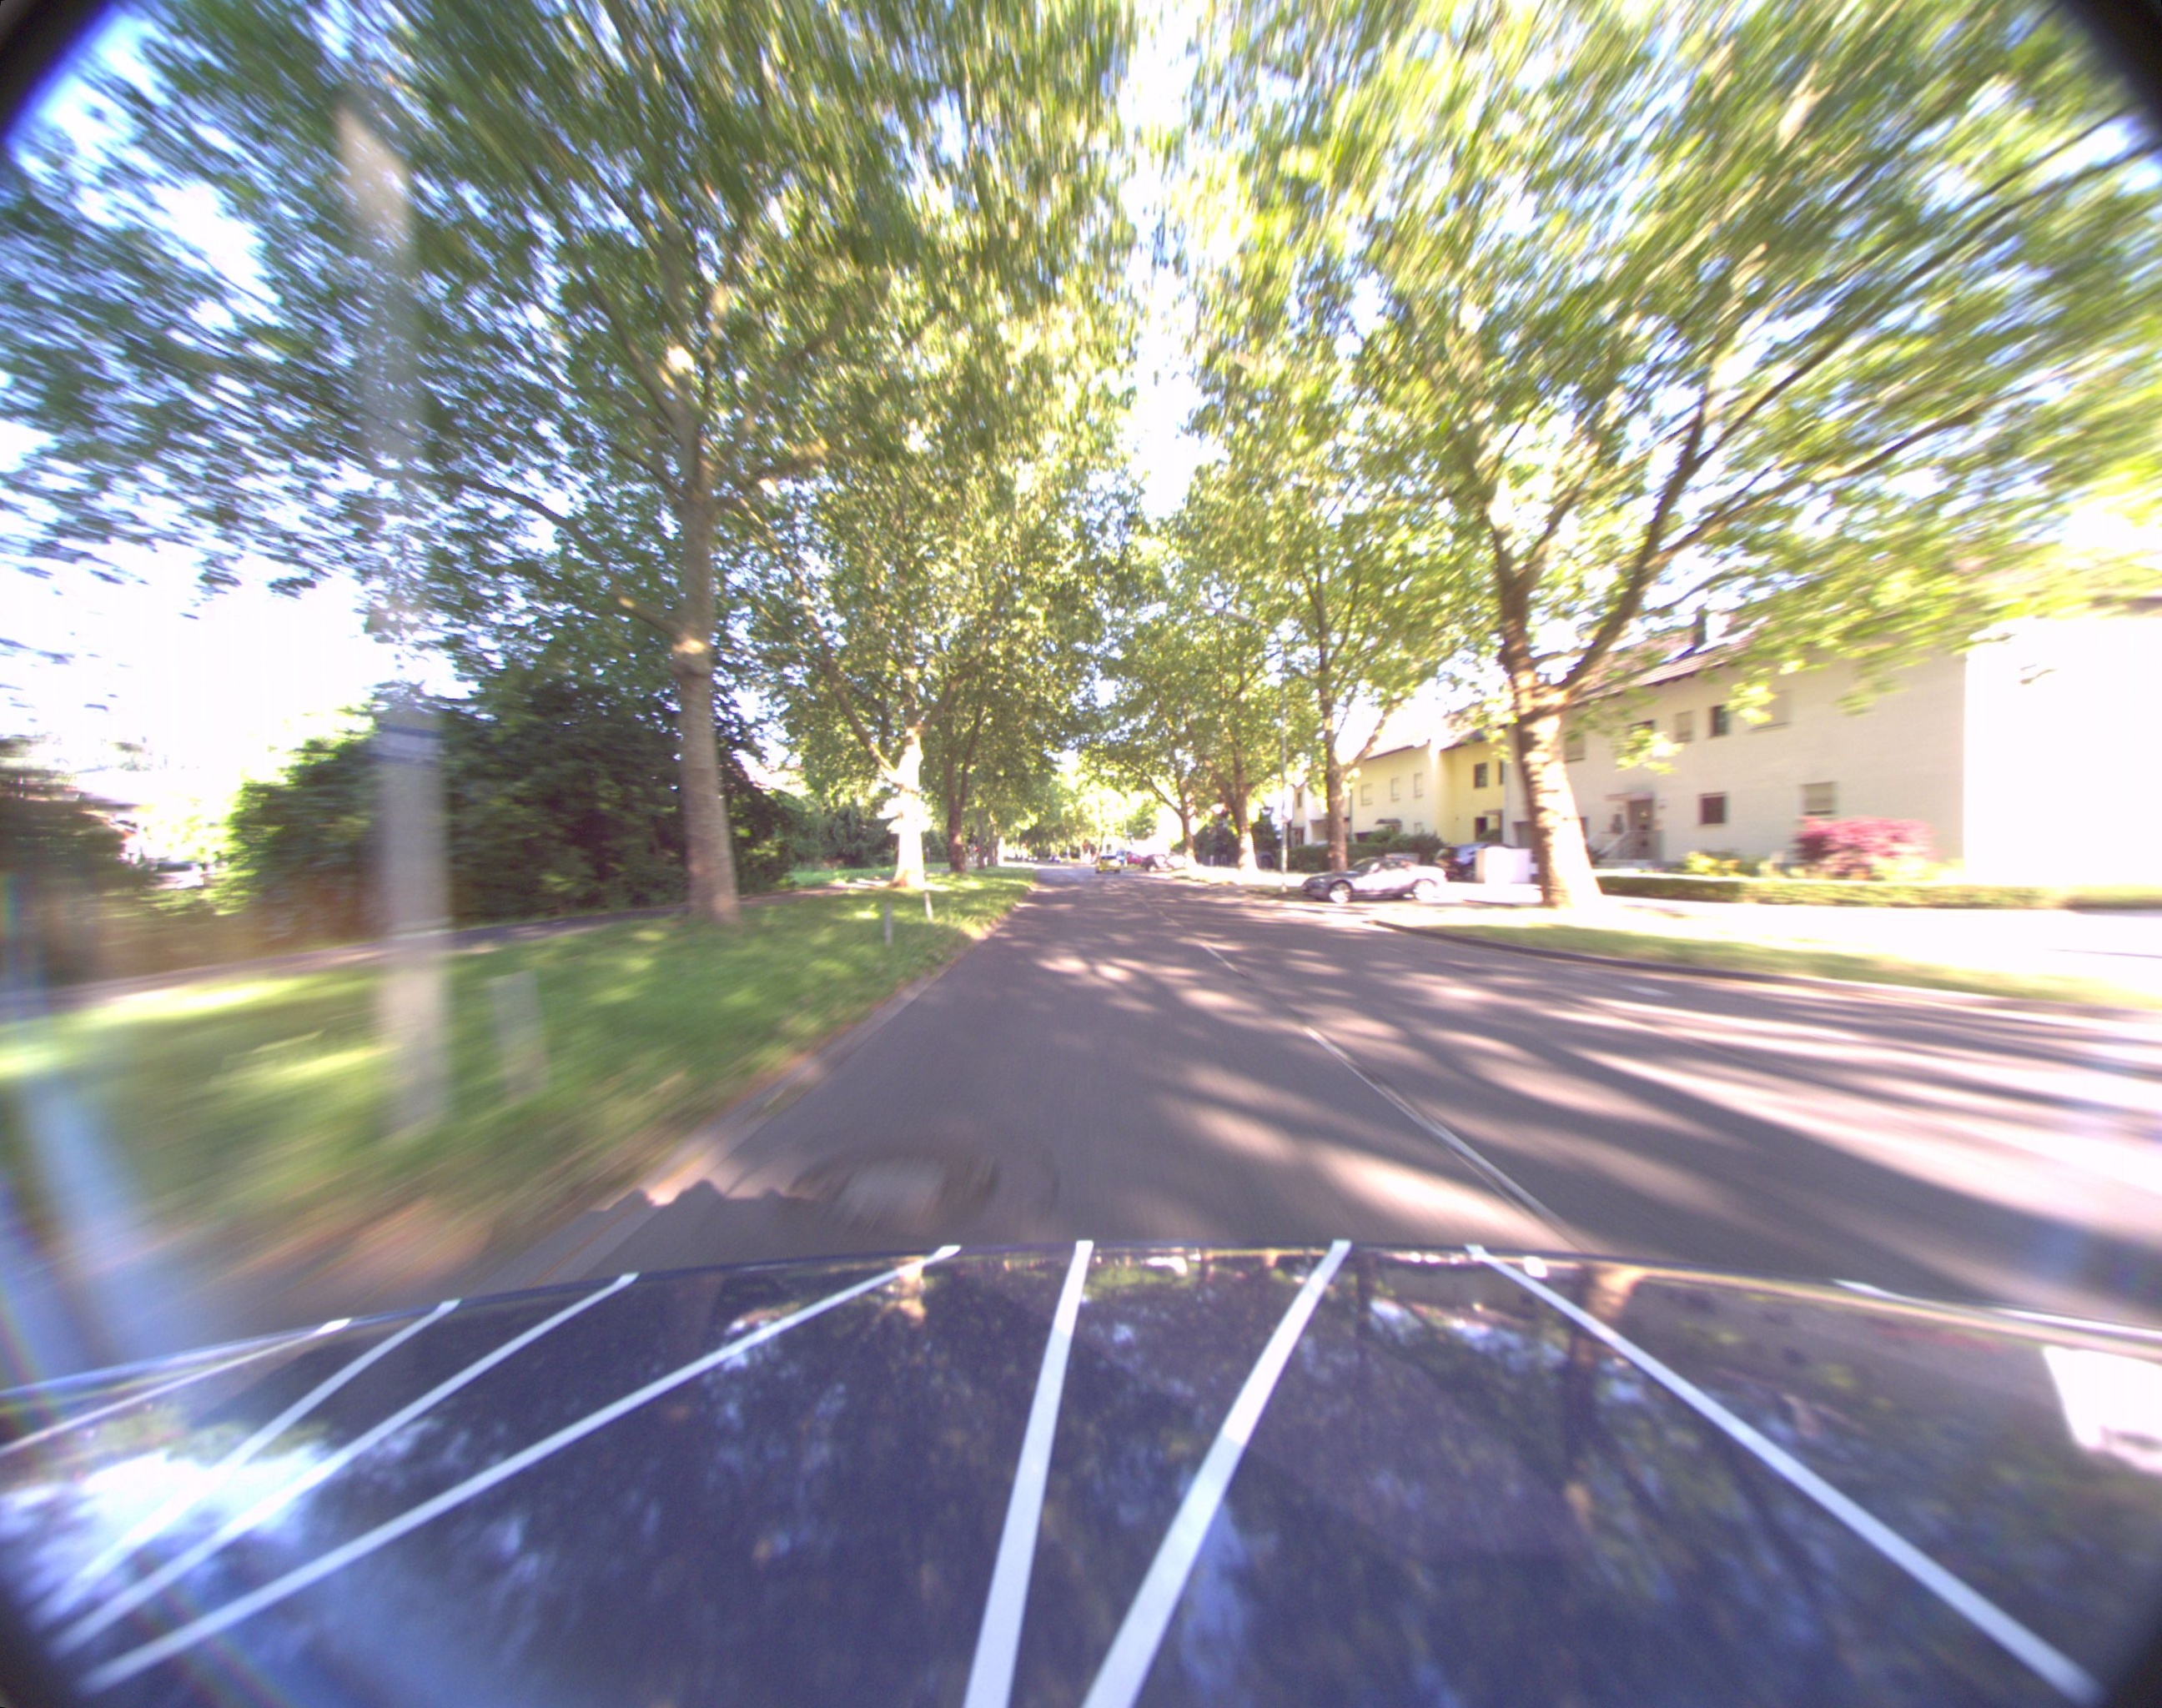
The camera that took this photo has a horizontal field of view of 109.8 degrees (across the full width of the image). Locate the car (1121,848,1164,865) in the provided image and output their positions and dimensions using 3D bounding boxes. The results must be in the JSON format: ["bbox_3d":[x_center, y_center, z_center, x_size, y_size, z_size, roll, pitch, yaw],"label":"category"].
[{"bbox_3d":[5.995,0.235,74.113,3.883,1.510,1.663,-1,1,-7],"label":"car"}]

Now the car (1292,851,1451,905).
[{"bbox_3d":[8.242,0.646,21.764,3.836,1.309,1.789,-2,1,-2],"label":"car"}]

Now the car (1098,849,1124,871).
[{"bbox_3d":[2.279,0.403,57.929,1.789,1.504,3.837,-1,1,0],"label":"car"}]

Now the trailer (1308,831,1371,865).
[{"bbox_3d":[17.105,-0.392,50.424,3.463,1.914,1.643,-5,0,-4],"label":"trailer"}]

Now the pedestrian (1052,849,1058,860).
[{"bbox_3d":[-4.062,0.067,118.801,0.637,1.709,0.825,2,0,-13],"label":"pedestrian"}]

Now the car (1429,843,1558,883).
[{"bbox_3d":[15.970,0.311,29.567,3.997,1.456,1.900,-1,1,-1],"label":"car"}]

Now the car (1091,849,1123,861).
[{"bbox_3d":[3.569,0.093,104.078,4.174,1.492,1.874,-2,1,-7],"label":"car"}]

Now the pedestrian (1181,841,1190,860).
[{"bbox_3d":[9.661,-0.345,70.148,0.618,1.706,1.065,-1,1,-2],"label":"pedestrian"}]

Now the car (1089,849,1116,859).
[{"bbox_3d":[3.244,0.001,114.223,3.776,1.526,1.830,-1,1,-8],"label":"car"}]

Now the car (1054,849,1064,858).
[{"bbox_3d":[-4.068,-0.076,138.933,1.721,1.492,4.093,-1,1,-1],"label":"car"}]

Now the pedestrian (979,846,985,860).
[{"bbox_3d":[-13.888,-0.140,106.219,0.756,1.837,0.802,-1,1,-2],"label":"pedestrian"}]

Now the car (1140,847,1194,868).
[{"bbox_3d":[6.761,0.246,60.192,3.999,1.509,1.816,-1,1,-4],"label":"car"}]

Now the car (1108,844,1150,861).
[{"bbox_3d":[5.296,-0.210,84.304,4.399,1.814,1.994,-1,1,-7],"label":"car"}]

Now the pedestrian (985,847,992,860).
[{"bbox_3d":[-12.914,-0.123,106.117,0.763,1.835,0.787,-1,1,-2],"label":"pedestrian"}]
